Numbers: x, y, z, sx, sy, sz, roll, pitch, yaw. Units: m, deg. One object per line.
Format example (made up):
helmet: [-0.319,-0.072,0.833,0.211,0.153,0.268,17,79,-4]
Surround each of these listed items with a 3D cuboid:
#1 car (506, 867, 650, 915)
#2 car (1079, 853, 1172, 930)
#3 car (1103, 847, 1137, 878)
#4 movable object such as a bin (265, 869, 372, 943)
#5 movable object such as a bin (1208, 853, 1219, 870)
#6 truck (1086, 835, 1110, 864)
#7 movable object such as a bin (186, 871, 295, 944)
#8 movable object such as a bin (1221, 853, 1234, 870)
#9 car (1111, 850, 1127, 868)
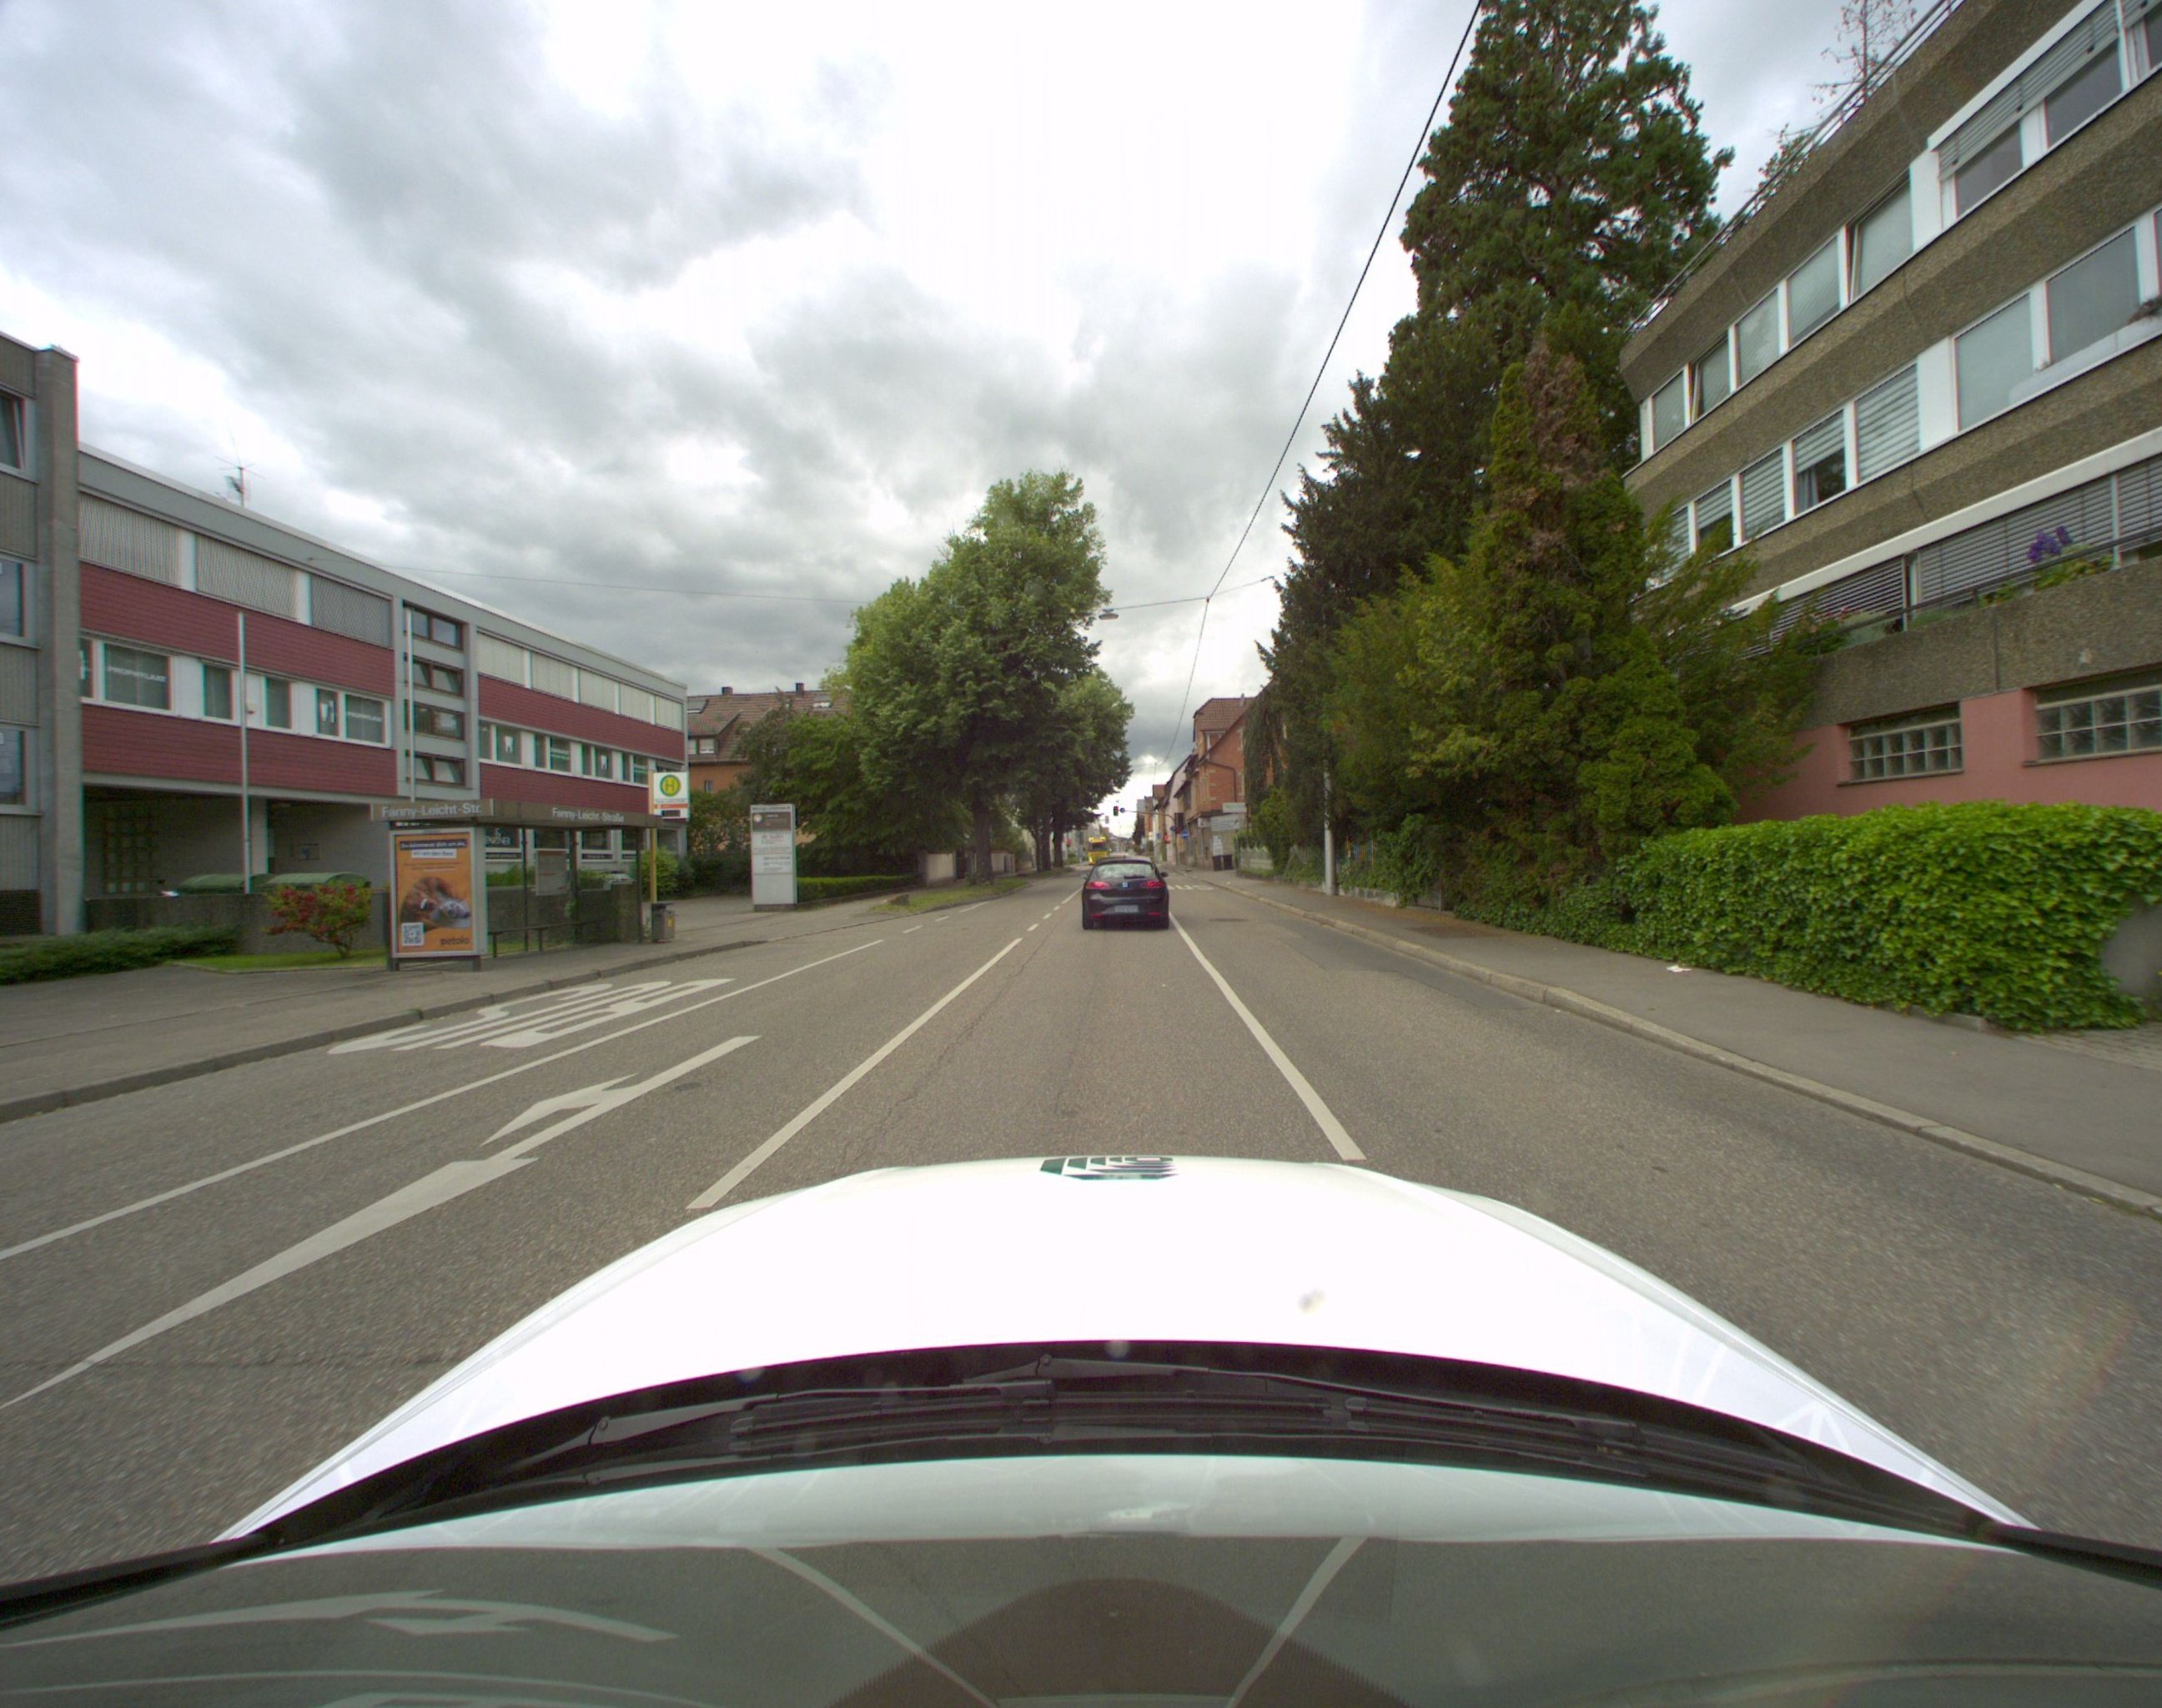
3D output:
car: [-16.730,1.201,27.122,4.105,1.479,1.820,-1,-1,17]
car: [0.943,0.723,17.371,1.752,1.442,4.003,0,-1,3]
car: [2.234,0.490,46.588,1.835,1.693,4.002,0,-1,3]
movable object such as a bin: [-15.806,1.055,16.913,1.293,1.465,0.993,0,-1,3]
movable object such as a bin: [8.877,0.501,54.488,0.604,1.101,0.623,-3,-1,3]
truck: [2.332,-0.571,108.885,2.831,3.782,7.676,0,-1,3]
movable object such as a bin: [-17.498,1.089,16.977,1.356,1.465,0.885,0,-1,3]
movable object such as a bin: [9.786,0.507,54.379,0.695,1.059,0.724,-3,-1,3]
car: [3.682,0.471,78.504,1.525,1.693,3.695,0,-1,3]
